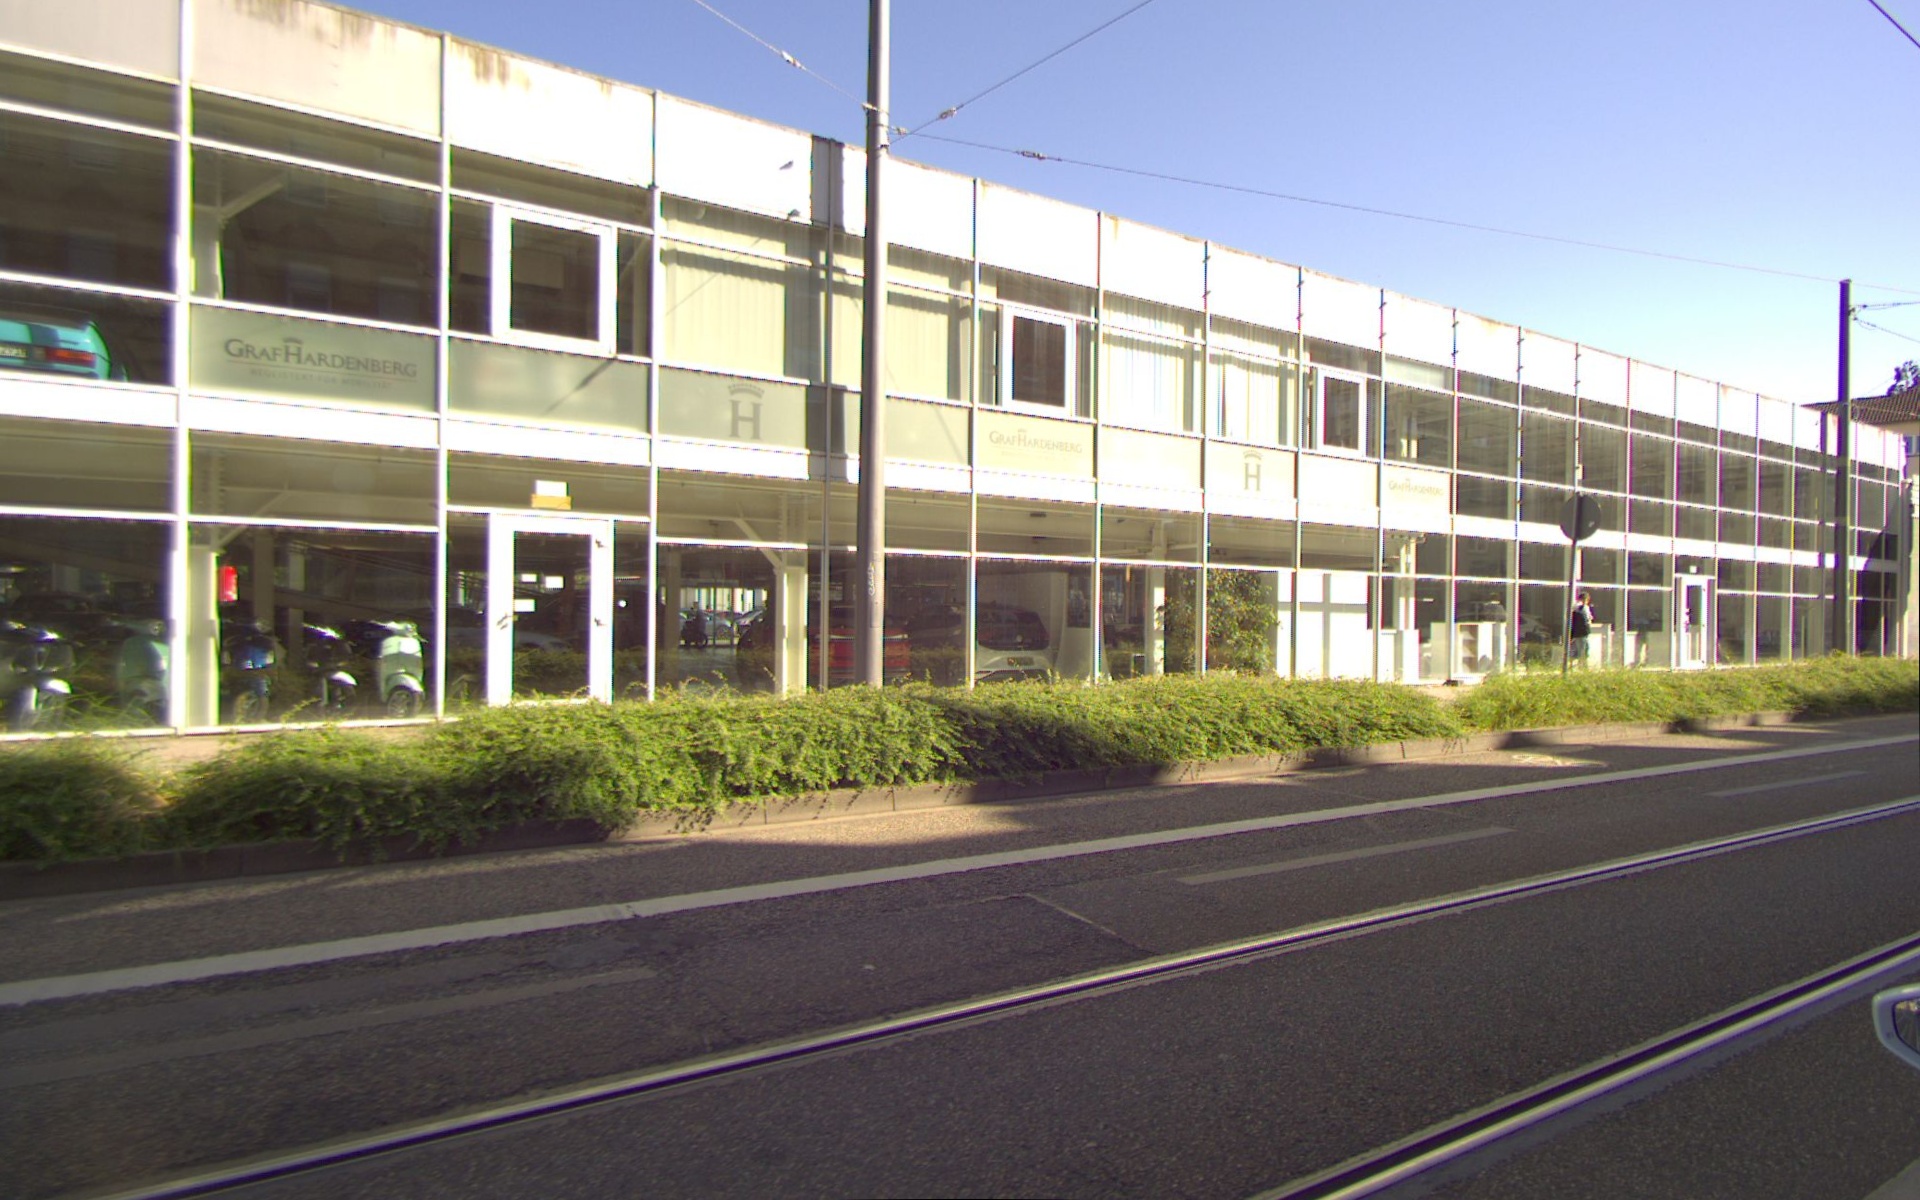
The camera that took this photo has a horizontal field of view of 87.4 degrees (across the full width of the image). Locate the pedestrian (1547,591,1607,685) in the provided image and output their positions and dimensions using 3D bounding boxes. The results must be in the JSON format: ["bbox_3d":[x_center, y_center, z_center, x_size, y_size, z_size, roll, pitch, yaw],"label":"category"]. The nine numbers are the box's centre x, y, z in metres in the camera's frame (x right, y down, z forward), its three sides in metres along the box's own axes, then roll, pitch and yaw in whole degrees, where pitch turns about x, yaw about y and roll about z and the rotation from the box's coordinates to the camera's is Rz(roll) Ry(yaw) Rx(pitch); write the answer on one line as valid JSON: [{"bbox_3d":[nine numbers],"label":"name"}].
[{"bbox_3d":[12.105,0.747,19.700,1.039,1.788,0.524,2,1,-31],"label":"pedestrian"}]
